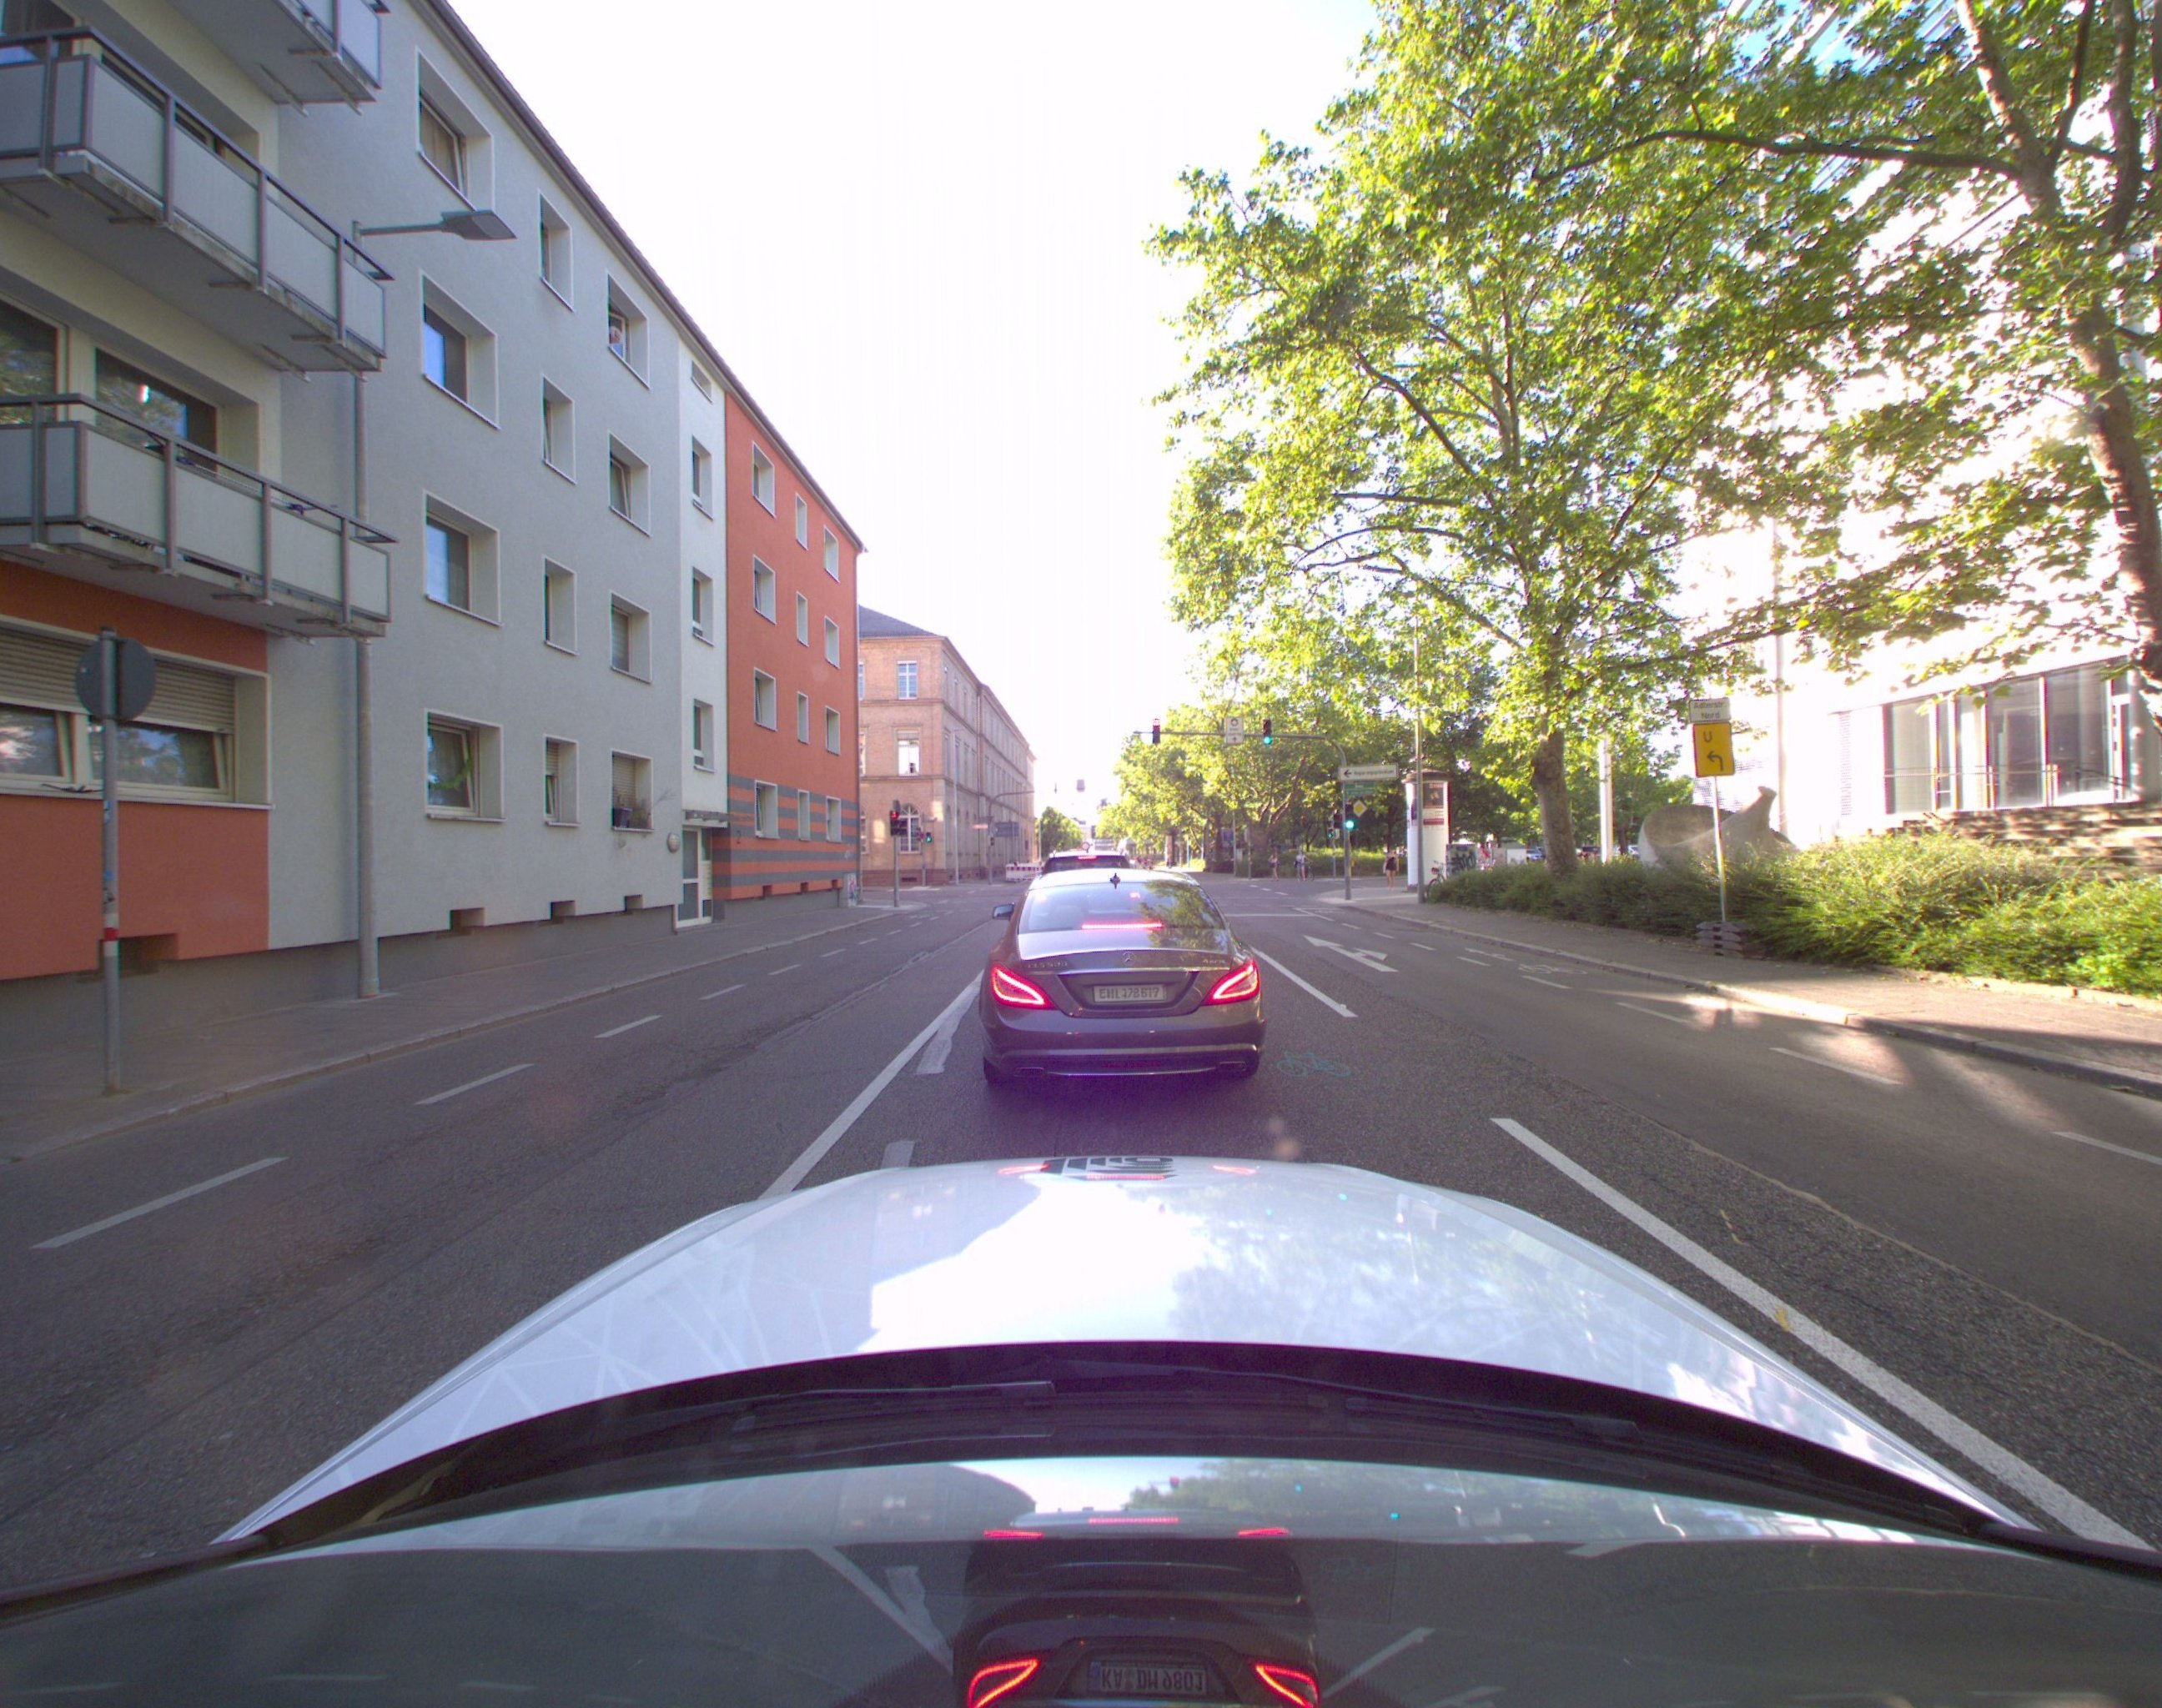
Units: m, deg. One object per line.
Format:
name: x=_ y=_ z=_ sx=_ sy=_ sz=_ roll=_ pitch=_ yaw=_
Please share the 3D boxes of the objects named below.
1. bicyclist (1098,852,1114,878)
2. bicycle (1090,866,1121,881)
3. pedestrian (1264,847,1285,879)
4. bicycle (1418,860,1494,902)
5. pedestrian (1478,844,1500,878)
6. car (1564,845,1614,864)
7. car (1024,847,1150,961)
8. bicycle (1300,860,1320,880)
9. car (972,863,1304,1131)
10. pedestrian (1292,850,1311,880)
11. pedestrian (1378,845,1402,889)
bicyclist: x=1.548 y=0.674 z=50.254 sx=0.807 sy=1.558 sz=0.646 roll=0 pitch=-1 yaw=-20
bicycle: x=1.522 y=1.191 z=50.216 sx=1.868 sy=0.891 sz=0.546 roll=0 pitch=-1 yaw=-20
pedestrian: x=10.964 y=0.506 z=46.163 sx=0.733 sy=1.808 sz=0.905 roll=-1 pitch=-2 yaw=-13
bicycle: x=10.803 y=0.770 z=23.488 sx=1.969 sy=1.190 sz=0.528 roll=0 pitch=-1 yaw=0
pedestrian: x=22.011 y=0.391 z=43.964 sx=0.779 sy=1.835 sz=0.685 roll=0 pitch=-1 yaw=-5
car: x=39.742 y=0.042 z=63.811 sx=1.624 sy=1.483 sz=3.796 roll=0 pitch=-1 yaw=1
car: x=0.203 y=0.744 z=13.847 sx=1.801 sy=1.612 sz=4.003 roll=-1 pitch=-1 yaw=3
bicycle: x=12.938 y=0.889 z=45.969 sx=0.523 sy=1.100 sz=1.738 roll=0 pitch=-1 yaw=-4
car: x=0.202 y=0.802 z=6.754 sx=1.839 sy=1.429 sz=4.511 roll=0 pitch=0 yaw=-3
pedestrian: x=12.486 y=0.607 z=46.183 sx=0.683 sy=1.697 sz=0.968 roll=0 pitch=-1 yaw=-8
pedestrian: x=11.602 y=0.490 z=30.592 sx=0.791 sy=1.630 sz=0.912 roll=-1 pitch=-1 yaw=21
